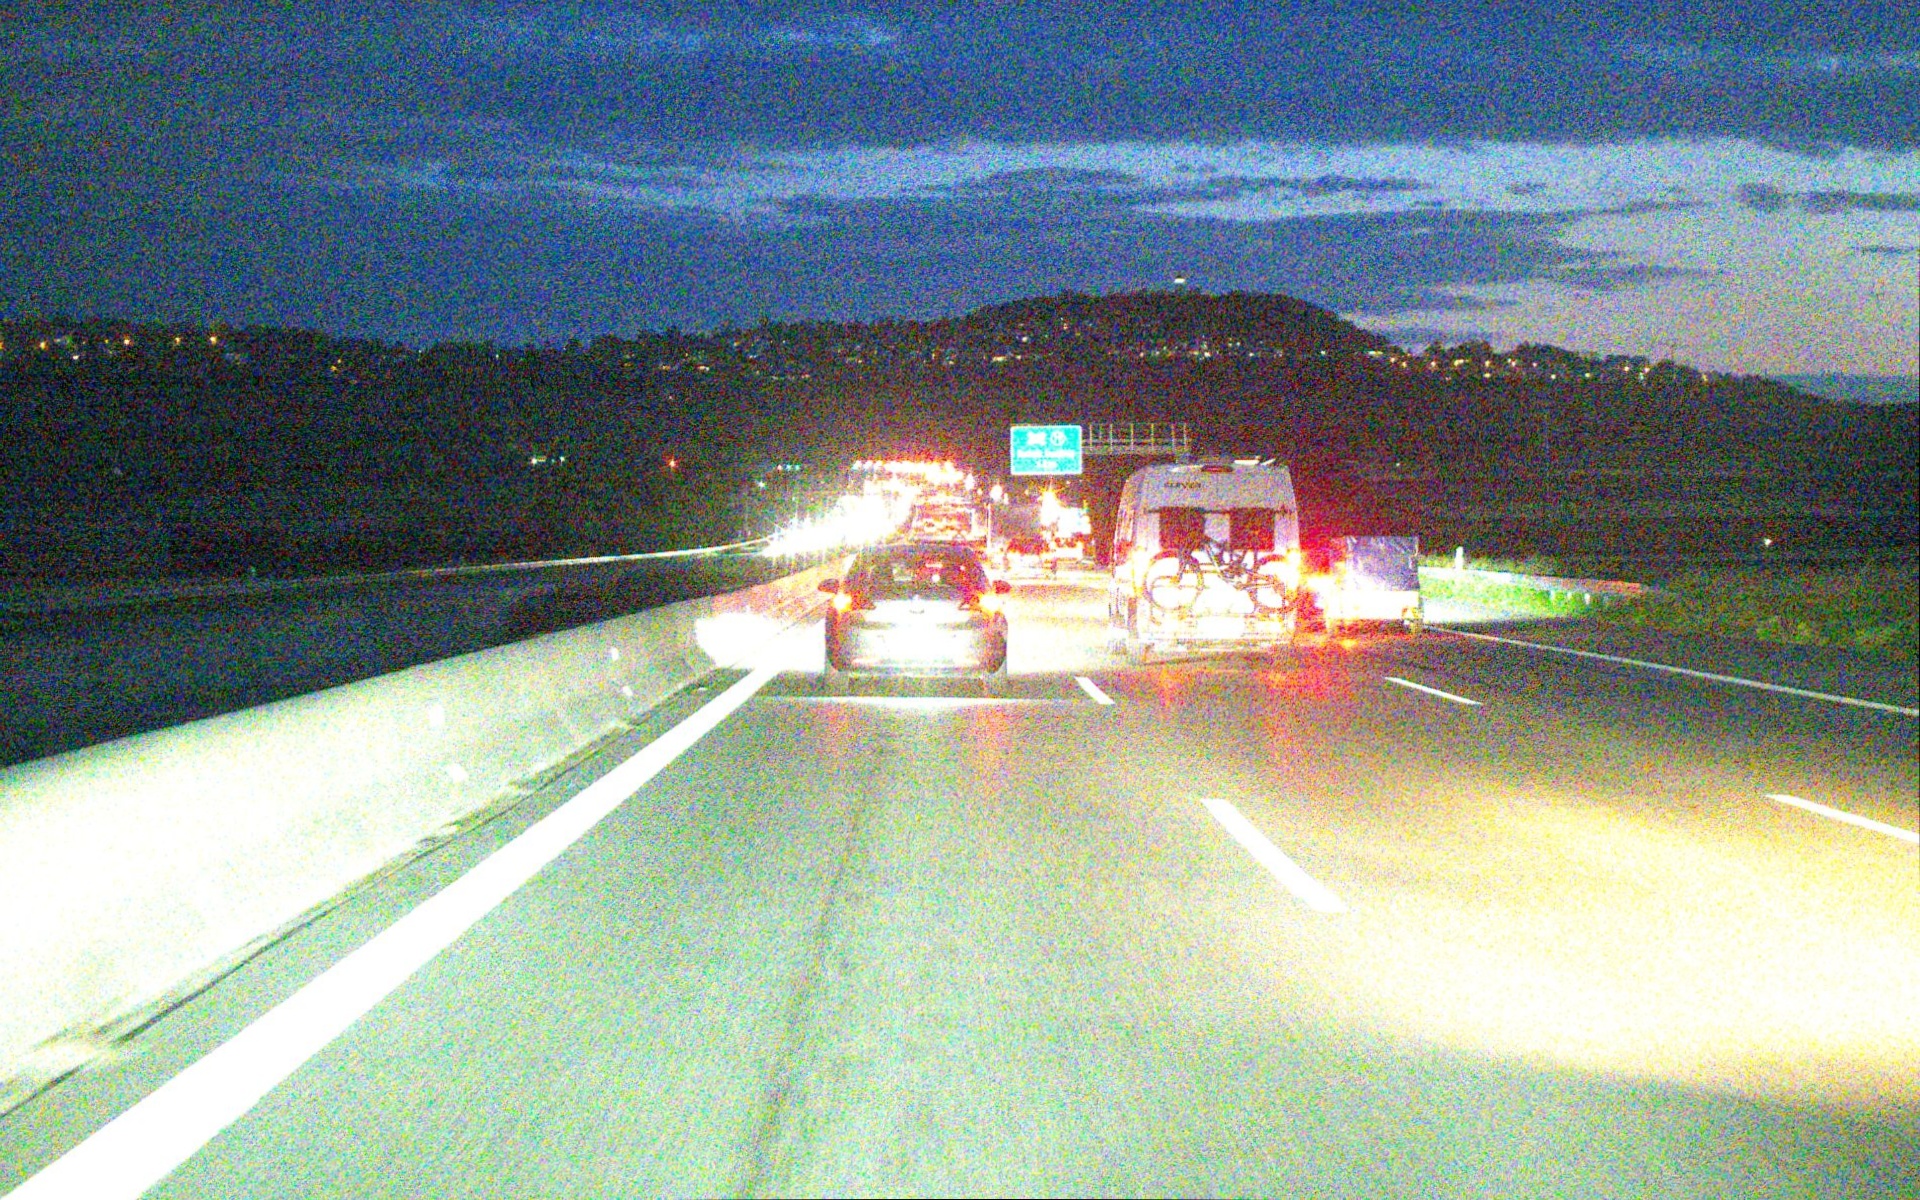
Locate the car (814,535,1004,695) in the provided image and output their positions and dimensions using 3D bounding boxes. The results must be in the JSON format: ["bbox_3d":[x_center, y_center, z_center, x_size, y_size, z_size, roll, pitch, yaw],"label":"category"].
[{"bbox_3d":[-0.484,0.103,34.513,1.793,1.464,3.773,0,2,0],"label":"car"}]

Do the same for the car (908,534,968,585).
[{"bbox_3d":[-0.658,-1.252,103.845,1.744,1.435,4.368,-1,2,0],"label":"car"}]

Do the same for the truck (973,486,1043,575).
[{"bbox_3d":[2.170,-3.161,157.327,2.781,3.942,7.994,-1,1,-2],"label":"truck"}]

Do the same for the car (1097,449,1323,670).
[{"bbox_3d":[3.010,-0.559,42.700,2.351,2.526,5.701,-1,2,0],"label":"car"}]

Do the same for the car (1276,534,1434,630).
[{"bbox_3d":[6.716,-0.348,58.891,2.163,1.558,4.723,0,1,0],"label":"car"}]

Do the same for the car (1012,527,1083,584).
[{"bbox_3d":[3.021,-1.554,119.715,2.351,1.907,4.723,-1,1,0],"label":"car"}]

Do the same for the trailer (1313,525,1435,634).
[{"bbox_3d":[6.625,-0.354,55.222,1.566,1.687,2.821,0,1,-1],"label":"trailer"}]

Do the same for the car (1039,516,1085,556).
[{"bbox_3d":[5.531,-3.507,186.622,2.351,2.068,4.723,-1,2,0],"label":"car"}]
